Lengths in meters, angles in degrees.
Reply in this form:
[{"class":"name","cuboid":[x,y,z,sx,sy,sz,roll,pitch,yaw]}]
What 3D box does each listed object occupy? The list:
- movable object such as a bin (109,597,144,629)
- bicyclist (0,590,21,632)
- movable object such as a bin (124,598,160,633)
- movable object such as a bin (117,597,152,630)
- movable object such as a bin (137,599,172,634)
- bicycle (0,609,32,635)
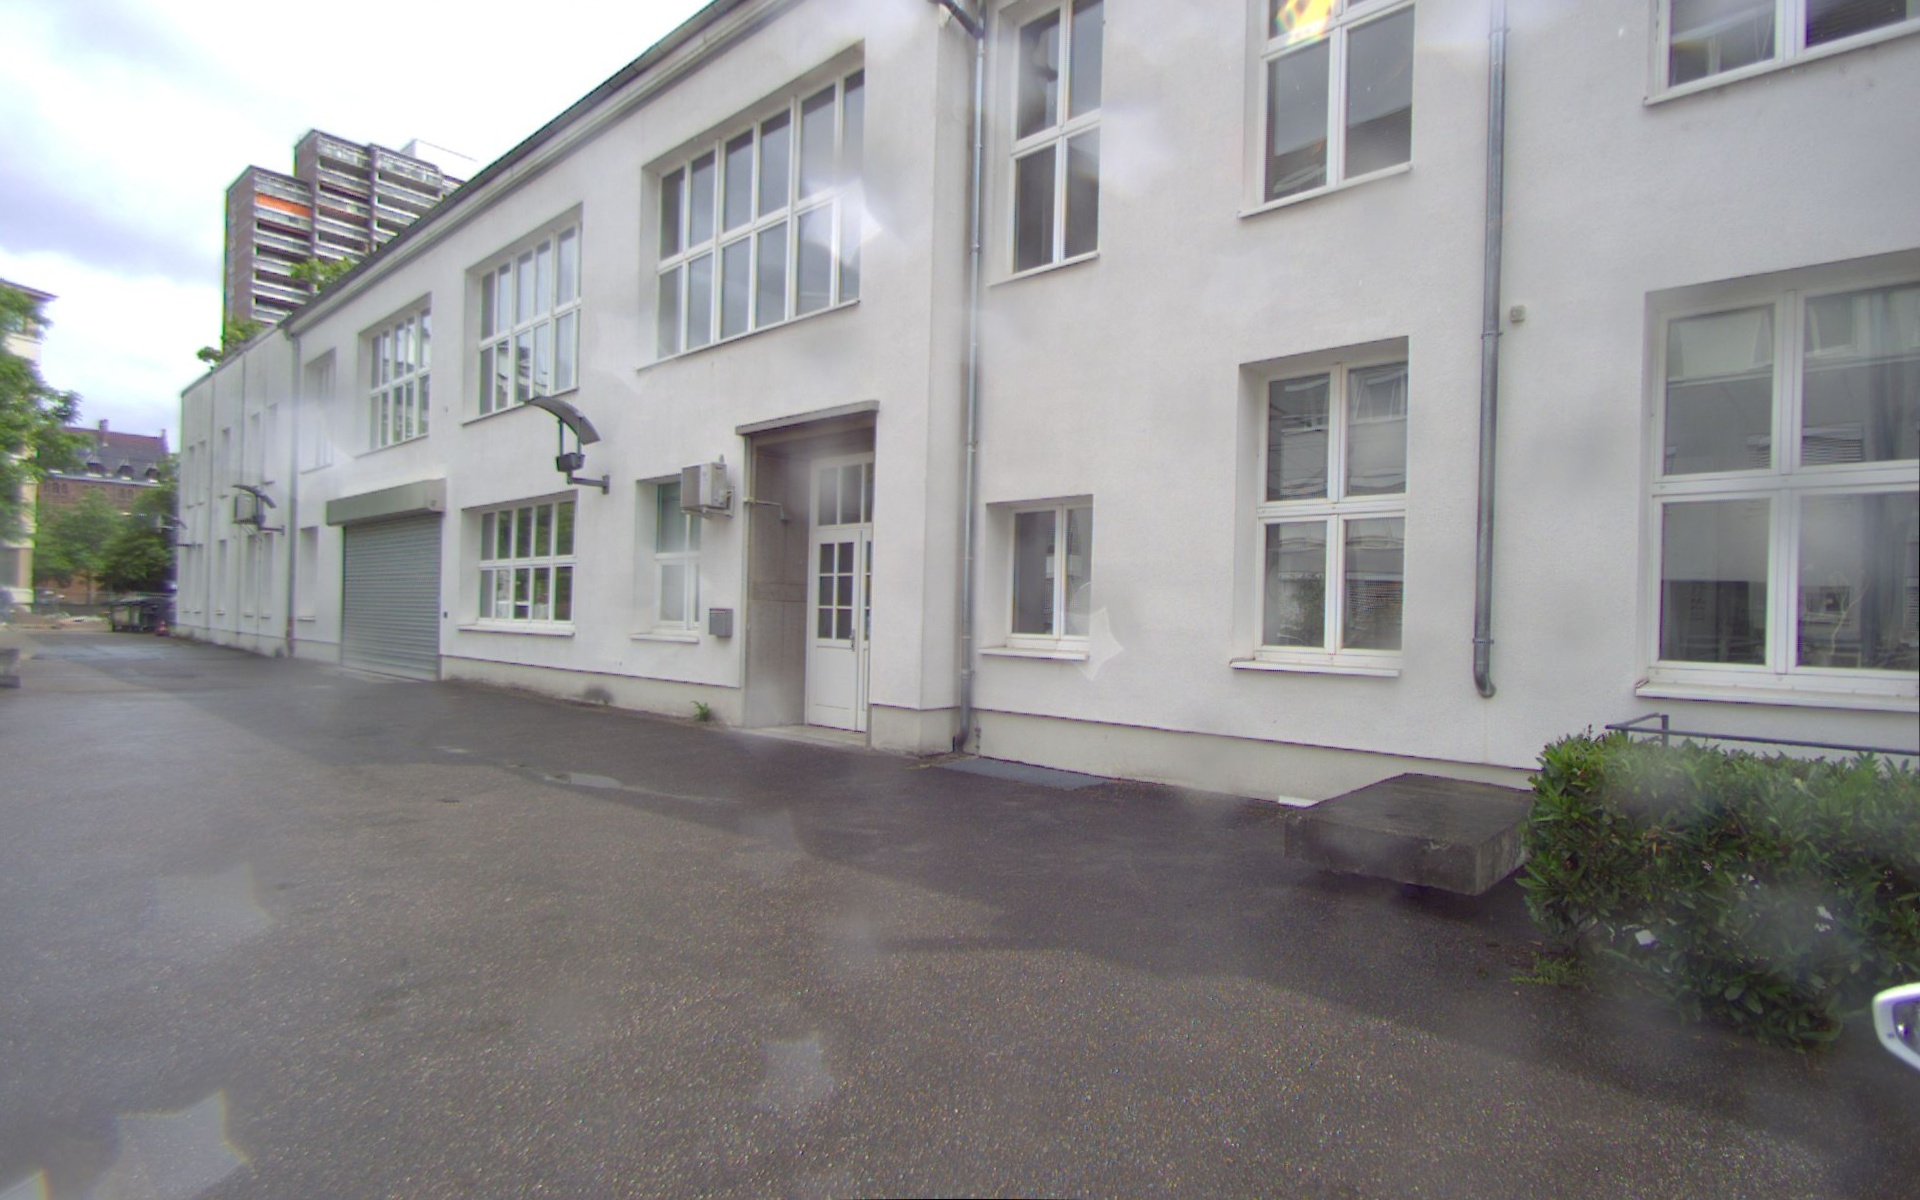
[{"class":"movable object such as a bin","cuboid":[-36.252,0.559,43.686,1.059,1.374,1.248,1,0,-43]},{"class":"bicyclist","cuboid":[-39.243,0.456,41.281,0.580,1.701,0.759,2,0,2]},{"class":"movable object such as a bin","cuboid":[-33.236,0.635,40.789,1.039,1.374,1.192,1,0,-43]},{"class":"movable object such as a bin","cuboid":[-35.217,0.585,42.852,1.059,1.374,1.248,1,0,-43]},{"class":"movable object such as a bin","cuboid":[-31.855,0.647,39.715,0.972,1.374,0.907,1,0,-44]},{"class":"bicycle","cuboid":[-39.250,0.907,41.297,0.532,1.052,1.713,2,0,2]}]
